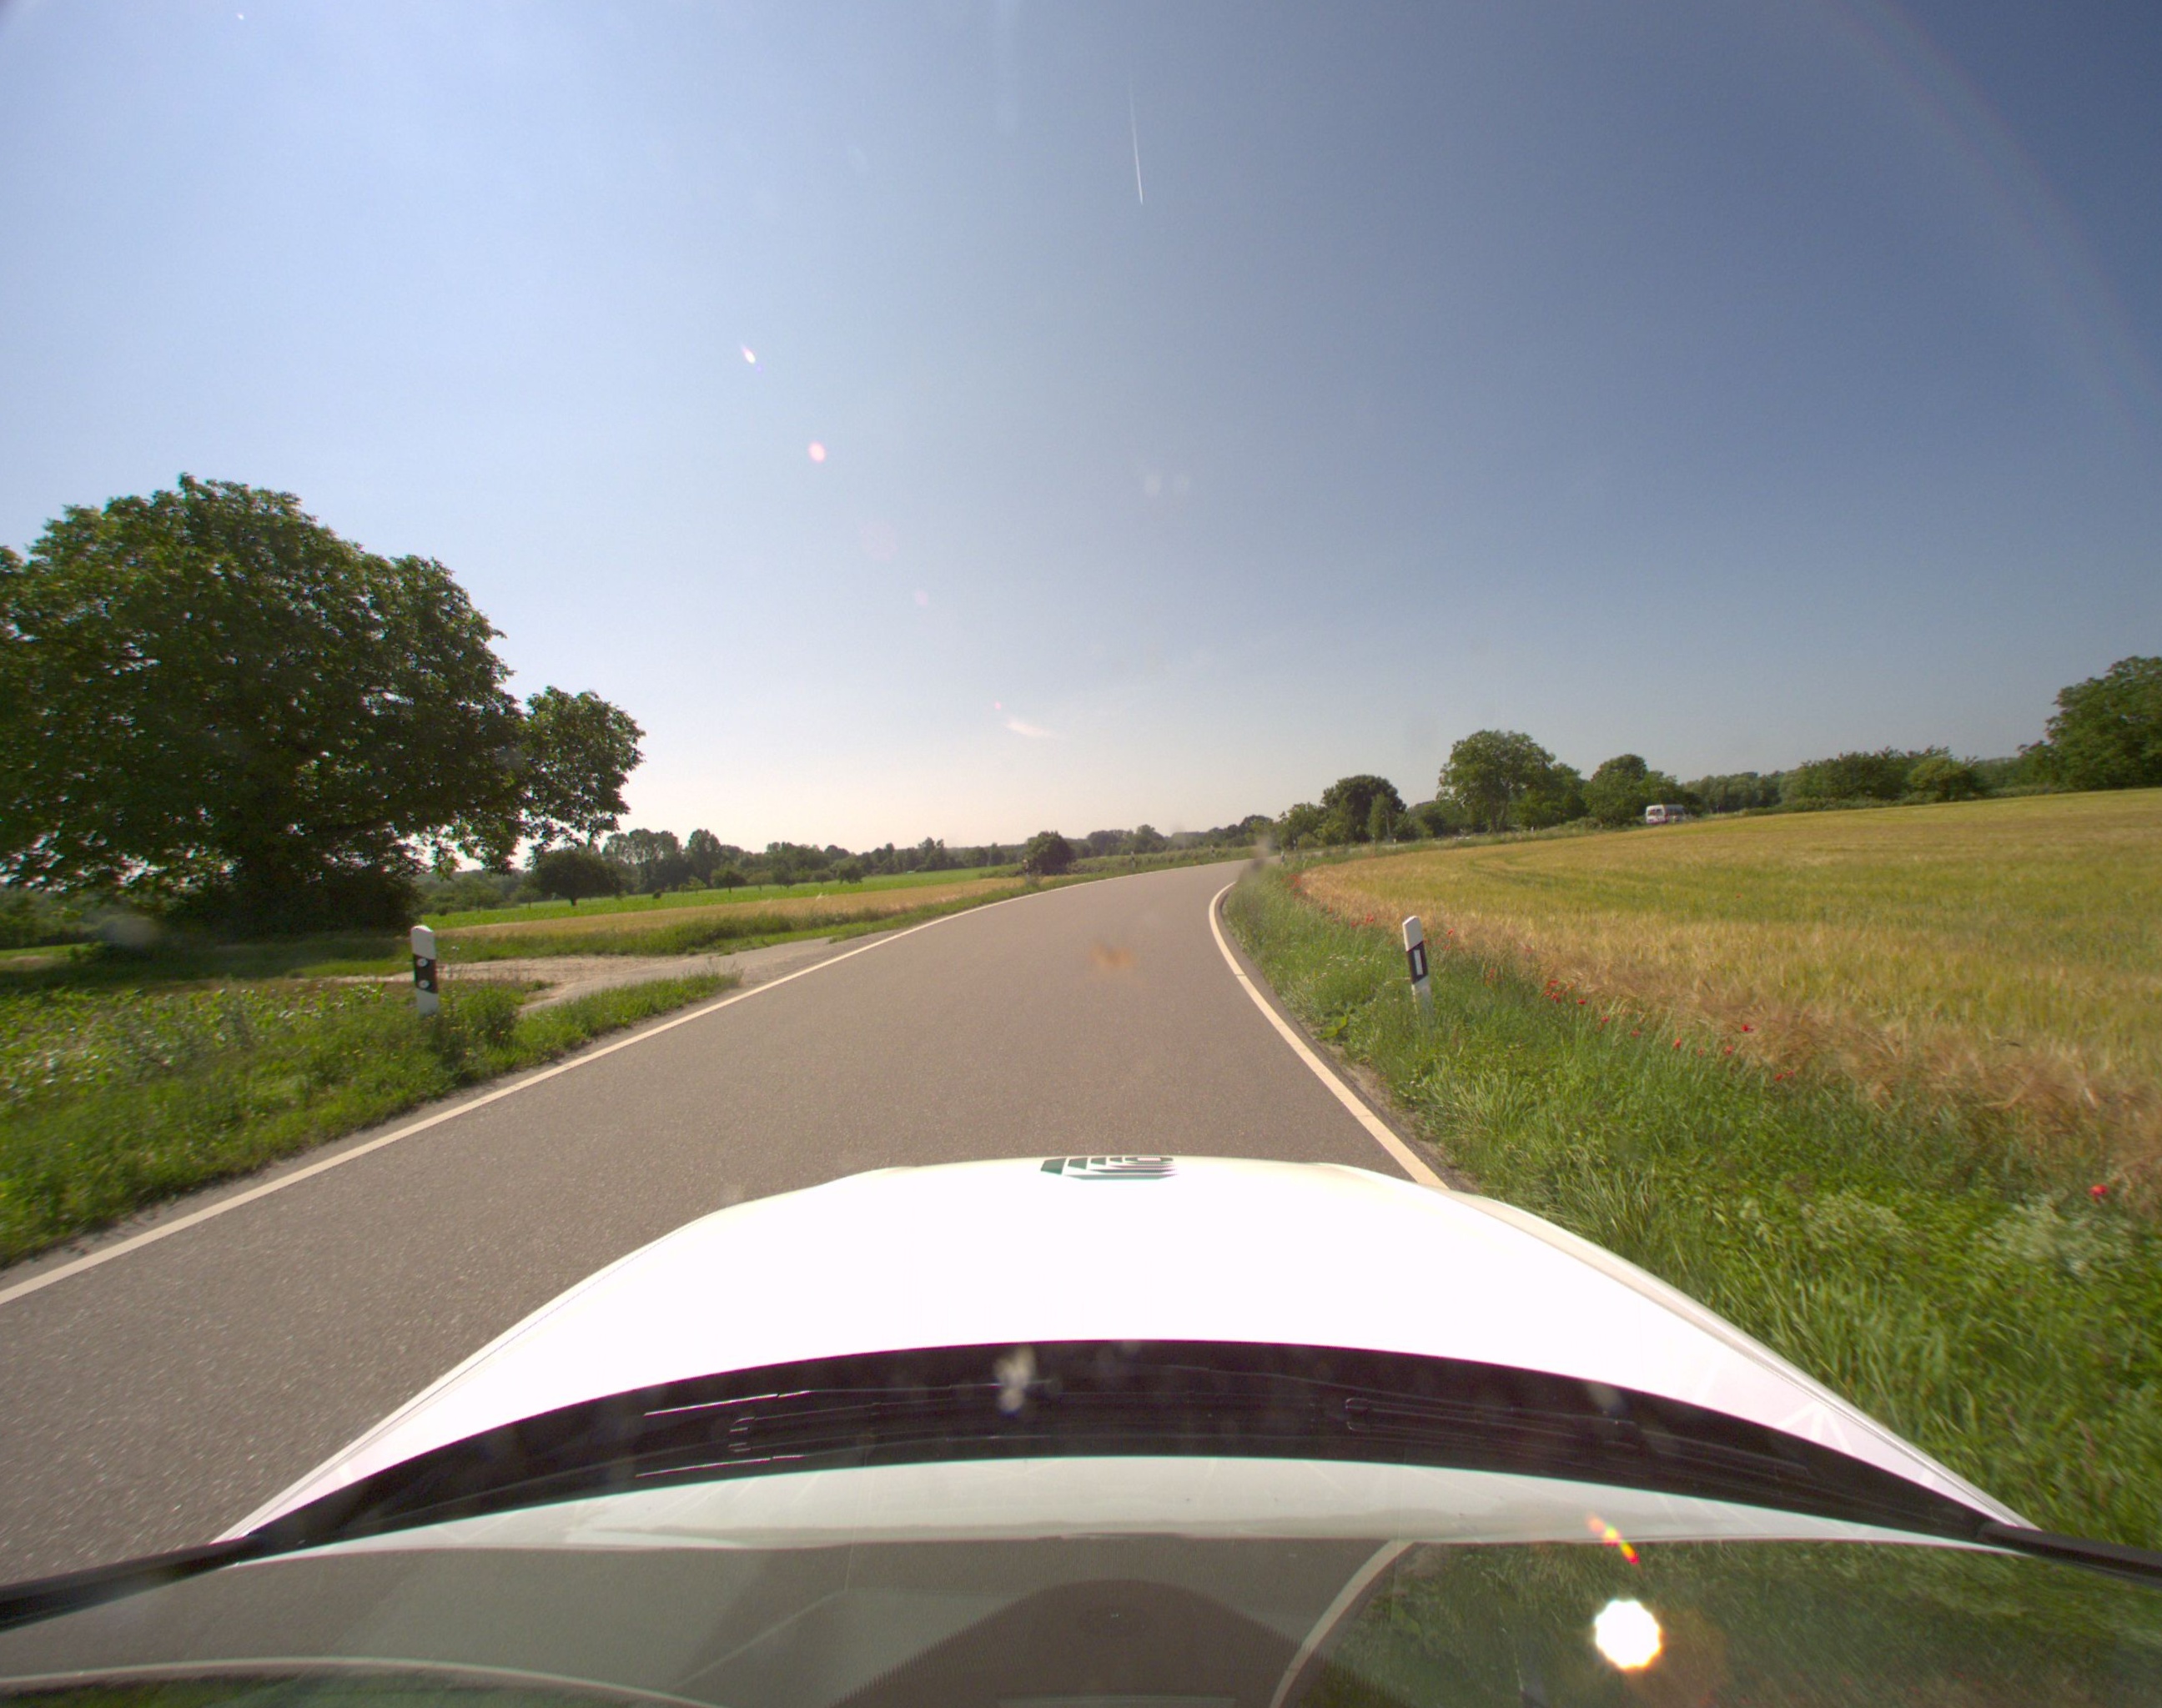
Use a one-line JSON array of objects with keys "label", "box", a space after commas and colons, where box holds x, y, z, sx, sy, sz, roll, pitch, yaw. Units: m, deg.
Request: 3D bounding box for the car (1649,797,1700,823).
[{"label": "car", "box": [65.344, -4.855, 89.676, 5.699, 2.367, 2.092, -5, 0, -27]}]
